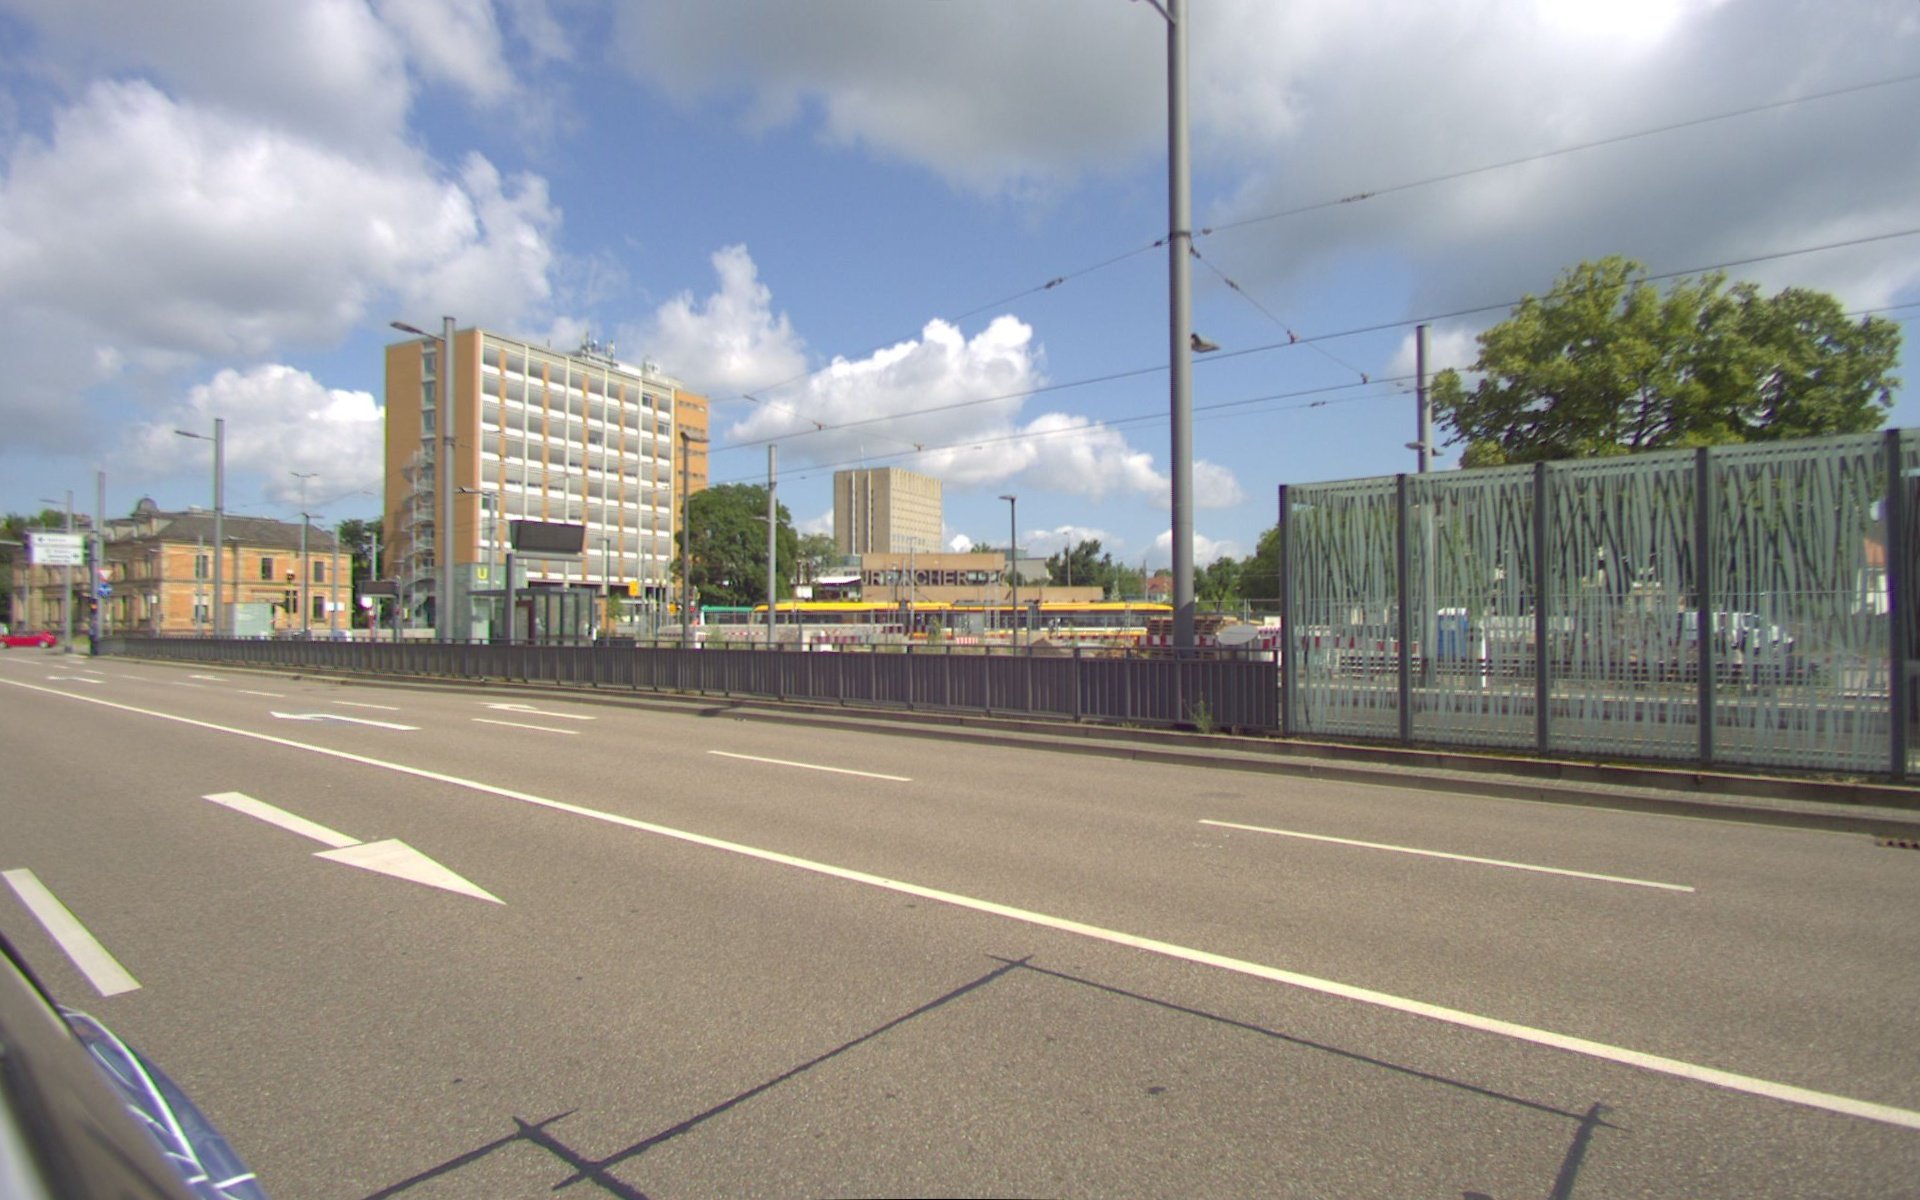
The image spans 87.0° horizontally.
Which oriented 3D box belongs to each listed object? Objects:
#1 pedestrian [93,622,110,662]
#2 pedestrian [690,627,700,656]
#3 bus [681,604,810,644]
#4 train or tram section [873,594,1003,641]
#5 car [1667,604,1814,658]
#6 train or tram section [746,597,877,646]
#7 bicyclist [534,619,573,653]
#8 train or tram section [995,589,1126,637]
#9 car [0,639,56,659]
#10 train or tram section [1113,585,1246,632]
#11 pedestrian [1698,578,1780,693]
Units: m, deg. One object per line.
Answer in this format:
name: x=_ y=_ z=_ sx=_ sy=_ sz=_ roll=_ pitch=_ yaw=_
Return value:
pedestrian: x=-43.790 y=2.138 z=51.616 sx=0.513 sy=2.029 sz=0.498 roll=-2 pitch=-2 yaw=29
pedestrian: x=-16.831 y=2.647 z=64.235 sx=0.553 sy=1.808 sz=0.721 roll=0 pitch=-2 yaw=-8
bus: x=-20.644 y=2.329 z=98.103 sx=12.177 sy=3.648 sz=2.922 roll=1 pitch=-2 yaw=-38
train or tram section: x=-1.904 y=1.488 z=84.739 sx=10.444 sy=3.507 sz=3.328 roll=-2 pitch=-3 yaw=-6
car: x=34.050 y=1.378 z=44.253 sx=4.590 sy=2.154 sz=1.936 roll=-2 pitch=-2 yaw=8
train or tram section: x=-12.213 y=1.802 z=83.657 sx=10.444 sy=3.507 sz=3.328 roll=-2 pitch=-3 yaw=-6
bicyclist: x=-20.571 y=1.812 z=51.190 sx=1.682 sy=1.696 sz=1.166 roll=-2 pitch=-3 yaw=38
train or tram section: x=8.416 y=1.133 z=85.811 sx=10.444 sy=3.507 sz=3.328 roll=-2 pitch=-3 yaw=-6
car: x=-76.091 y=4.013 z=82.032 sx=3.998 sy=1.479 sz=1.650 roll=0 pitch=-4 yaw=-36
train or tram section: x=18.795 y=0.784 z=86.865 sx=10.444 sy=3.507 sz=3.328 roll=-2 pitch=-3 yaw=-6
pedestrian: x=14.374 y=0.652 z=18.666 sx=1.051 sy=2.029 sz=1.054 roll=-2 pitch=-3 yaw=43
